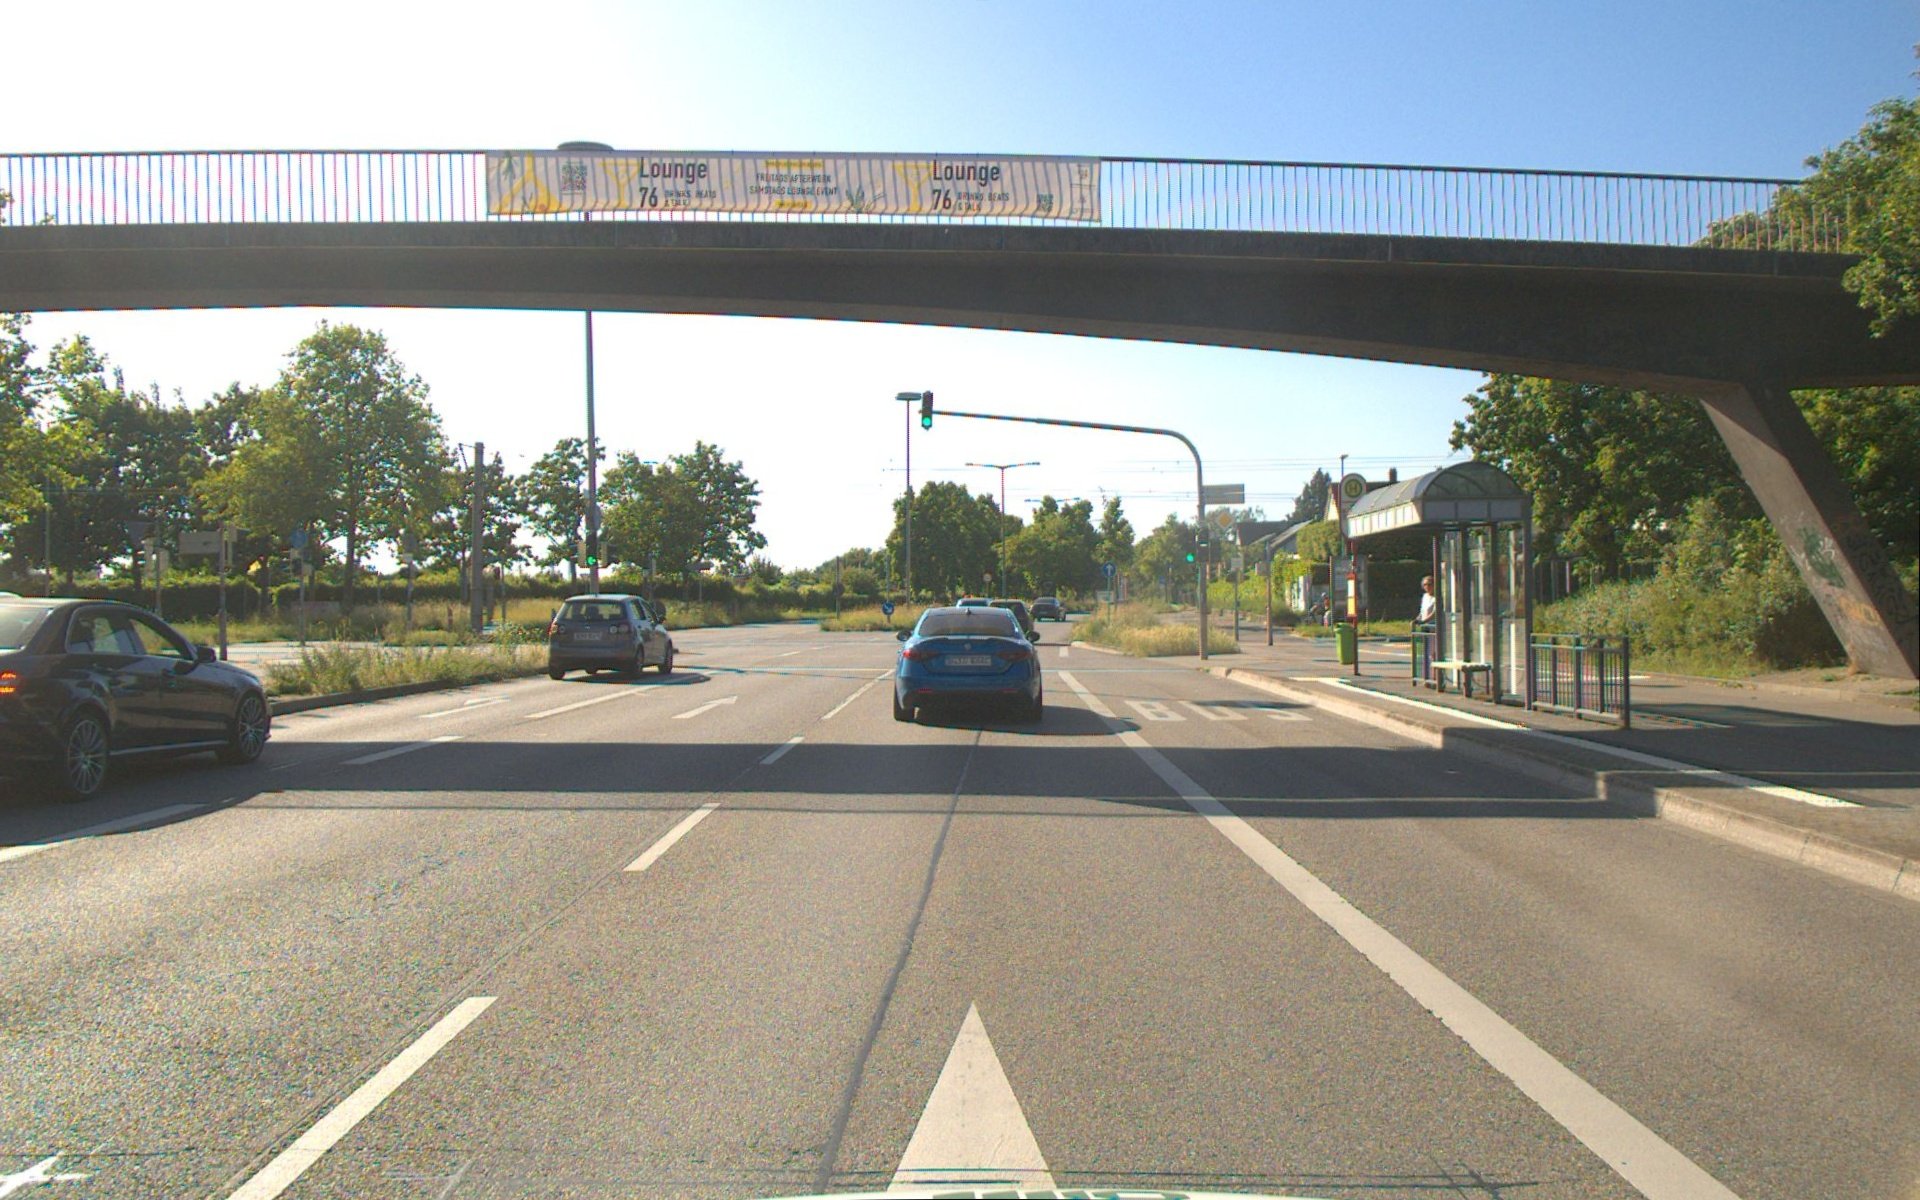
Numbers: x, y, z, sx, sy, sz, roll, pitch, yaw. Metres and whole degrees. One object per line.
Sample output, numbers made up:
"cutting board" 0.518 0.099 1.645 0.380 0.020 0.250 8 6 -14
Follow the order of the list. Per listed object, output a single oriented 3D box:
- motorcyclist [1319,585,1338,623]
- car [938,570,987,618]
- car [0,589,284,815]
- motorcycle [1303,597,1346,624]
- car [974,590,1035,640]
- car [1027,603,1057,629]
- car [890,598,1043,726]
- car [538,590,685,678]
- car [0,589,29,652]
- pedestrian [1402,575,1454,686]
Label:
"motorcyclist" 15.451 0.179 69.401 0.678 1.585 0.700 -1 -1 7
"car" 0.153 -0.235 73.406 1.755 2.049 4.002 1 -1 6
"car" -7.229 0.692 13.312 1.738 1.512 4.529 0 0 0
"motorcycle" 15.312 0.448 69.406 1.718 1.090 0.452 -1 -1 7
"car" 1.548 0.498 56.251 1.875 1.607 4.184 0 0 4
"car" 5.102 0.988 102.605 1.625 1.607 3.811 1 0 7
"car" 0.139 0.745 21.835 1.800 1.500 4.185 1 0 2
"car" -6.793 0.629 32.726 1.803 1.598 4.388 0 0 2
"car" -29.365 0.565 47.739 3.905 1.785 1.777 1 -1 -1
"pedestrian" 7.263 0.464 25.677 0.576 1.691 0.716 0 0 -2
